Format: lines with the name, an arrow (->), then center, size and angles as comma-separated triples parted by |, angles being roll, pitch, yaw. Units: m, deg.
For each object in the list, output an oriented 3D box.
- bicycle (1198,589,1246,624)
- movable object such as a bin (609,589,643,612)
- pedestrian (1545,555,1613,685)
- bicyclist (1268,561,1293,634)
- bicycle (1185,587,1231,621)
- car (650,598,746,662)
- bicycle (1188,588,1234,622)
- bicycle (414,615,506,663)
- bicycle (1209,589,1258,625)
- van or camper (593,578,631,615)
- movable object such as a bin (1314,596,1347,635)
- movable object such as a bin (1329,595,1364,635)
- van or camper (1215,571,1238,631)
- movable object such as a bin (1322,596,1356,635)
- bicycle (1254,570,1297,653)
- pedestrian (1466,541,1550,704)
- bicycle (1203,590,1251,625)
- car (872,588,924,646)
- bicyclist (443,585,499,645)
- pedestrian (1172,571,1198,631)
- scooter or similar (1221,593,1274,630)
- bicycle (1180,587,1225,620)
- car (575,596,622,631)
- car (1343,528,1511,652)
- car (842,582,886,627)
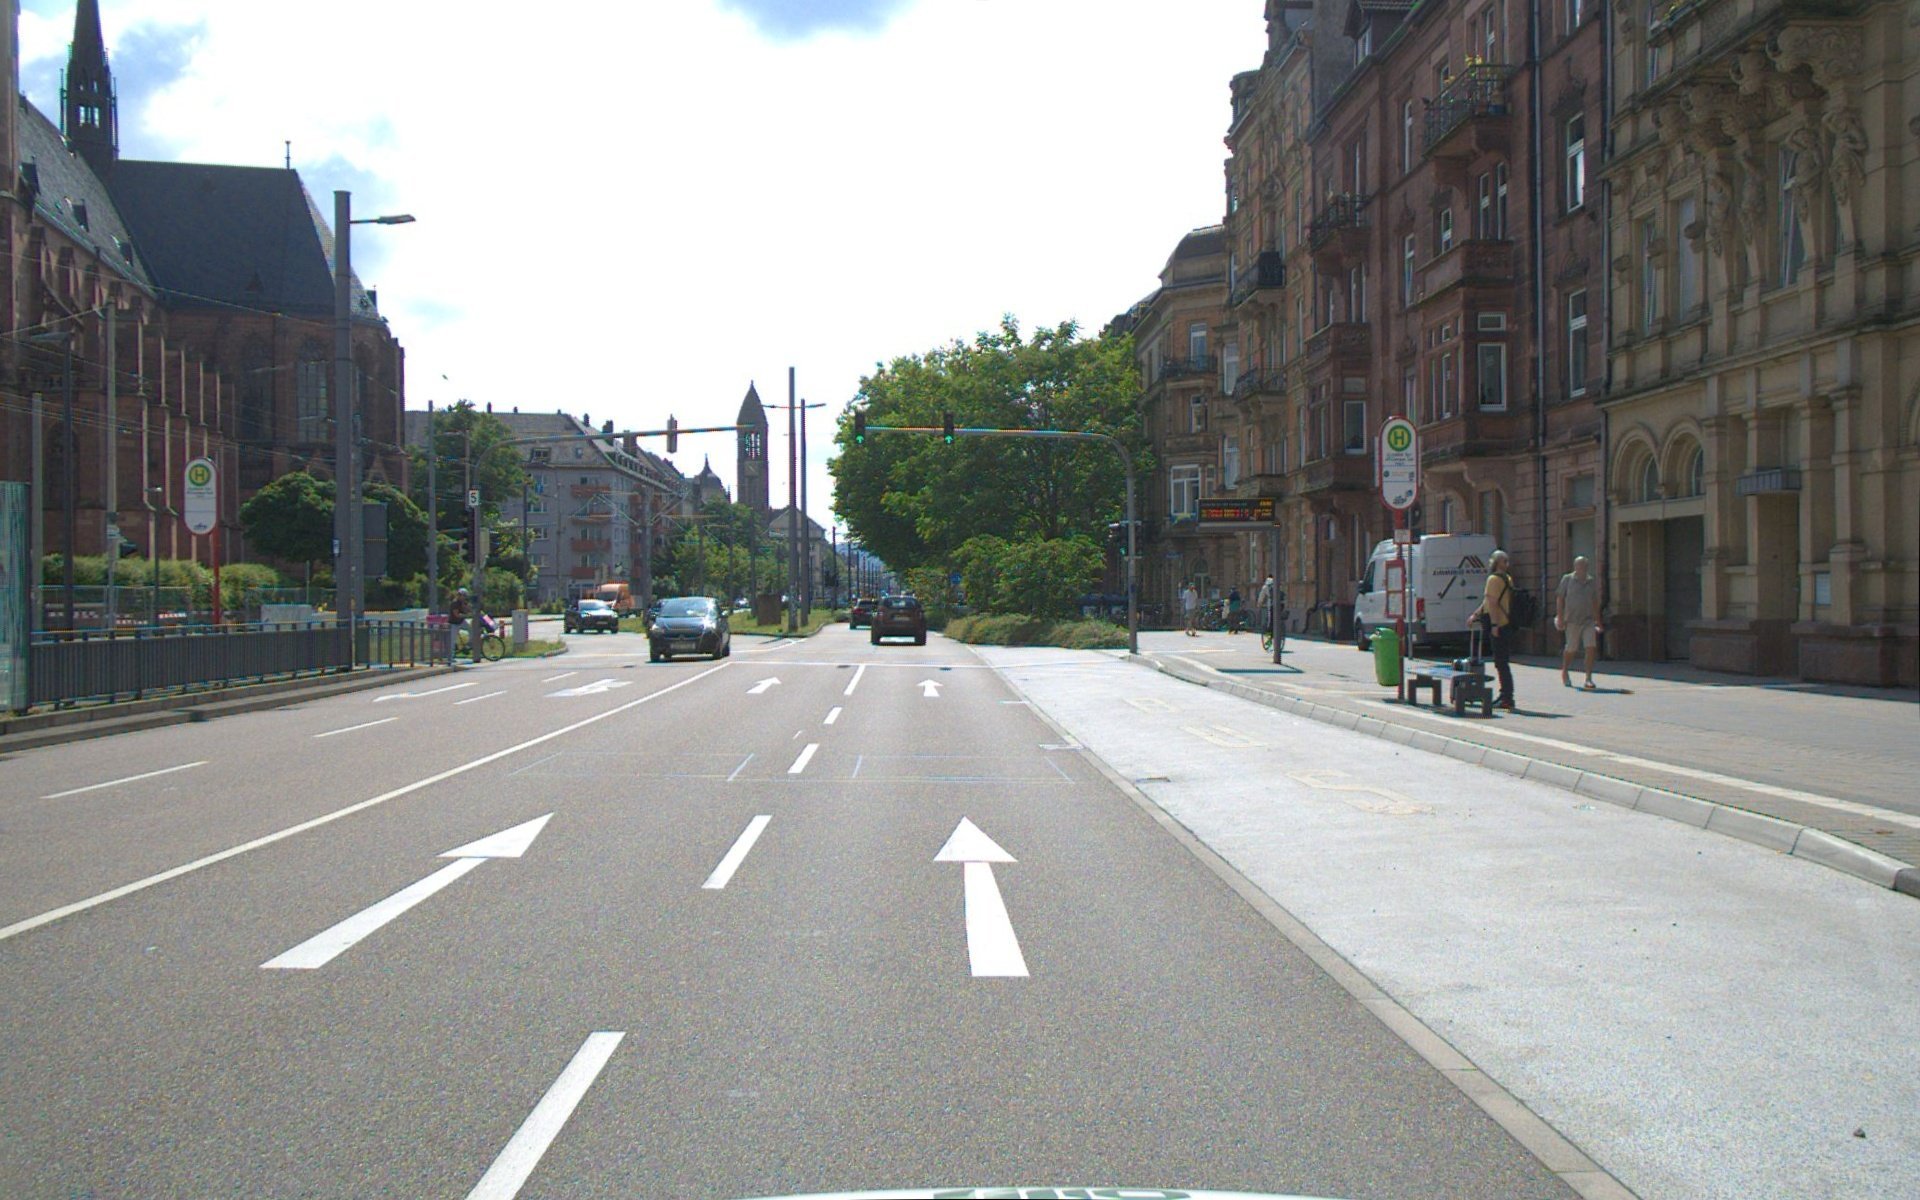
bicycle -> 9.849, 0.235, 62.181 | 1.732, 1.290, 0.467 | 0, 2, 1
movable object such as a bin -> -27.730, 0.064, 137.439 | 2.162, 1.723, 3.717 | -1, 2, -2
pedestrian -> 9.103, 0.282, 24.330 | 0.650, 1.869, 0.693 | -1, 0, -8
bicyclist -> 7.772, -0.070, 40.141 | 0.419, 1.748, 0.828 | 0, 0, -1
bicycle -> 9.656, 0.138, 64.371 | 1.732, 1.290, 0.467 | 0, 2, 1
car -> -6.233, 0.680, 39.732 | 1.877, 1.442, 3.739 | -1, 0, -3
bicycle -> 9.677, 0.191, 63.749 | 1.732, 1.290, 0.467 | 0, 2, 1
bicycle -> -12.420, 0.960, 41.095 | 1.975, 1.146, 0.932 | -1, 0, 8
bicycle -> 10.064, 0.255, 60.972 | 1.732, 1.290, 0.467 | 0, 2, 1
van or camper -> -27.618, -0.276, 131.429 | 2.212, 2.785, 6.195 | -1, 0, -6
movable object such as a bin -> 11.046, 0.463, 49.333 | 0.770, 1.127, 0.776 | -1, 0, -4
movable object such as a bin -> 11.131, 0.434, 47.685 | 0.770, 1.127, 0.776 | -1, 0, -4
van or camper -> 9.246, 0.025, 57.388 | 0.652, 2.049, 0.638 | -1, 0, -2
movable object such as a bin -> 11.092, 0.457, 48.440 | 0.770, 1.127, 0.776 | -1, 0, -4
bicycle -> 7.634, 0.264, 40.090 | 0.669, 1.959, 1.589 | -1, 0, -1
pedestrian -> 6.651, 0.263, 20.079 | 0.653, 1.936, 0.690 | -1, 0, -20
bicycle -> 9.935, 0.278, 61.507 | 1.709, 1.290, 0.467 | 0, 2, 1
car -> -2.119, 0.551, 56.012 | 1.655, 1.741, 3.607 | -1, 2, -4
bicyclist -> -12.159, 0.363, 41.106 | 1.066, 1.461, 0.825 | -1, 0, 8
pedestrian -> 7.749, 0.044, 56.897 | 0.752, 2.049, 0.715 | -1, 0, -1
scooter or similar -> 10.130, 0.412, 58.258 | 1.733, 1.205, 0.466 | -3, -1, -2
bicycle -> 9.585, 0.145, 65.389 | 1.732, 1.290, 0.467 | 0, 2, 1
car -> -16.646, 0.612, 76.051 | 1.770, 1.579, 4.275 | 0, 0, -17
car -> 10.394, -0.227, 37.352 | 1.953, 2.569, 5.886 | -1, 0, -2
car -> -4.555, 0.198, 77.782 | 1.954, 2.049, 3.996 | -1, 0, -5
